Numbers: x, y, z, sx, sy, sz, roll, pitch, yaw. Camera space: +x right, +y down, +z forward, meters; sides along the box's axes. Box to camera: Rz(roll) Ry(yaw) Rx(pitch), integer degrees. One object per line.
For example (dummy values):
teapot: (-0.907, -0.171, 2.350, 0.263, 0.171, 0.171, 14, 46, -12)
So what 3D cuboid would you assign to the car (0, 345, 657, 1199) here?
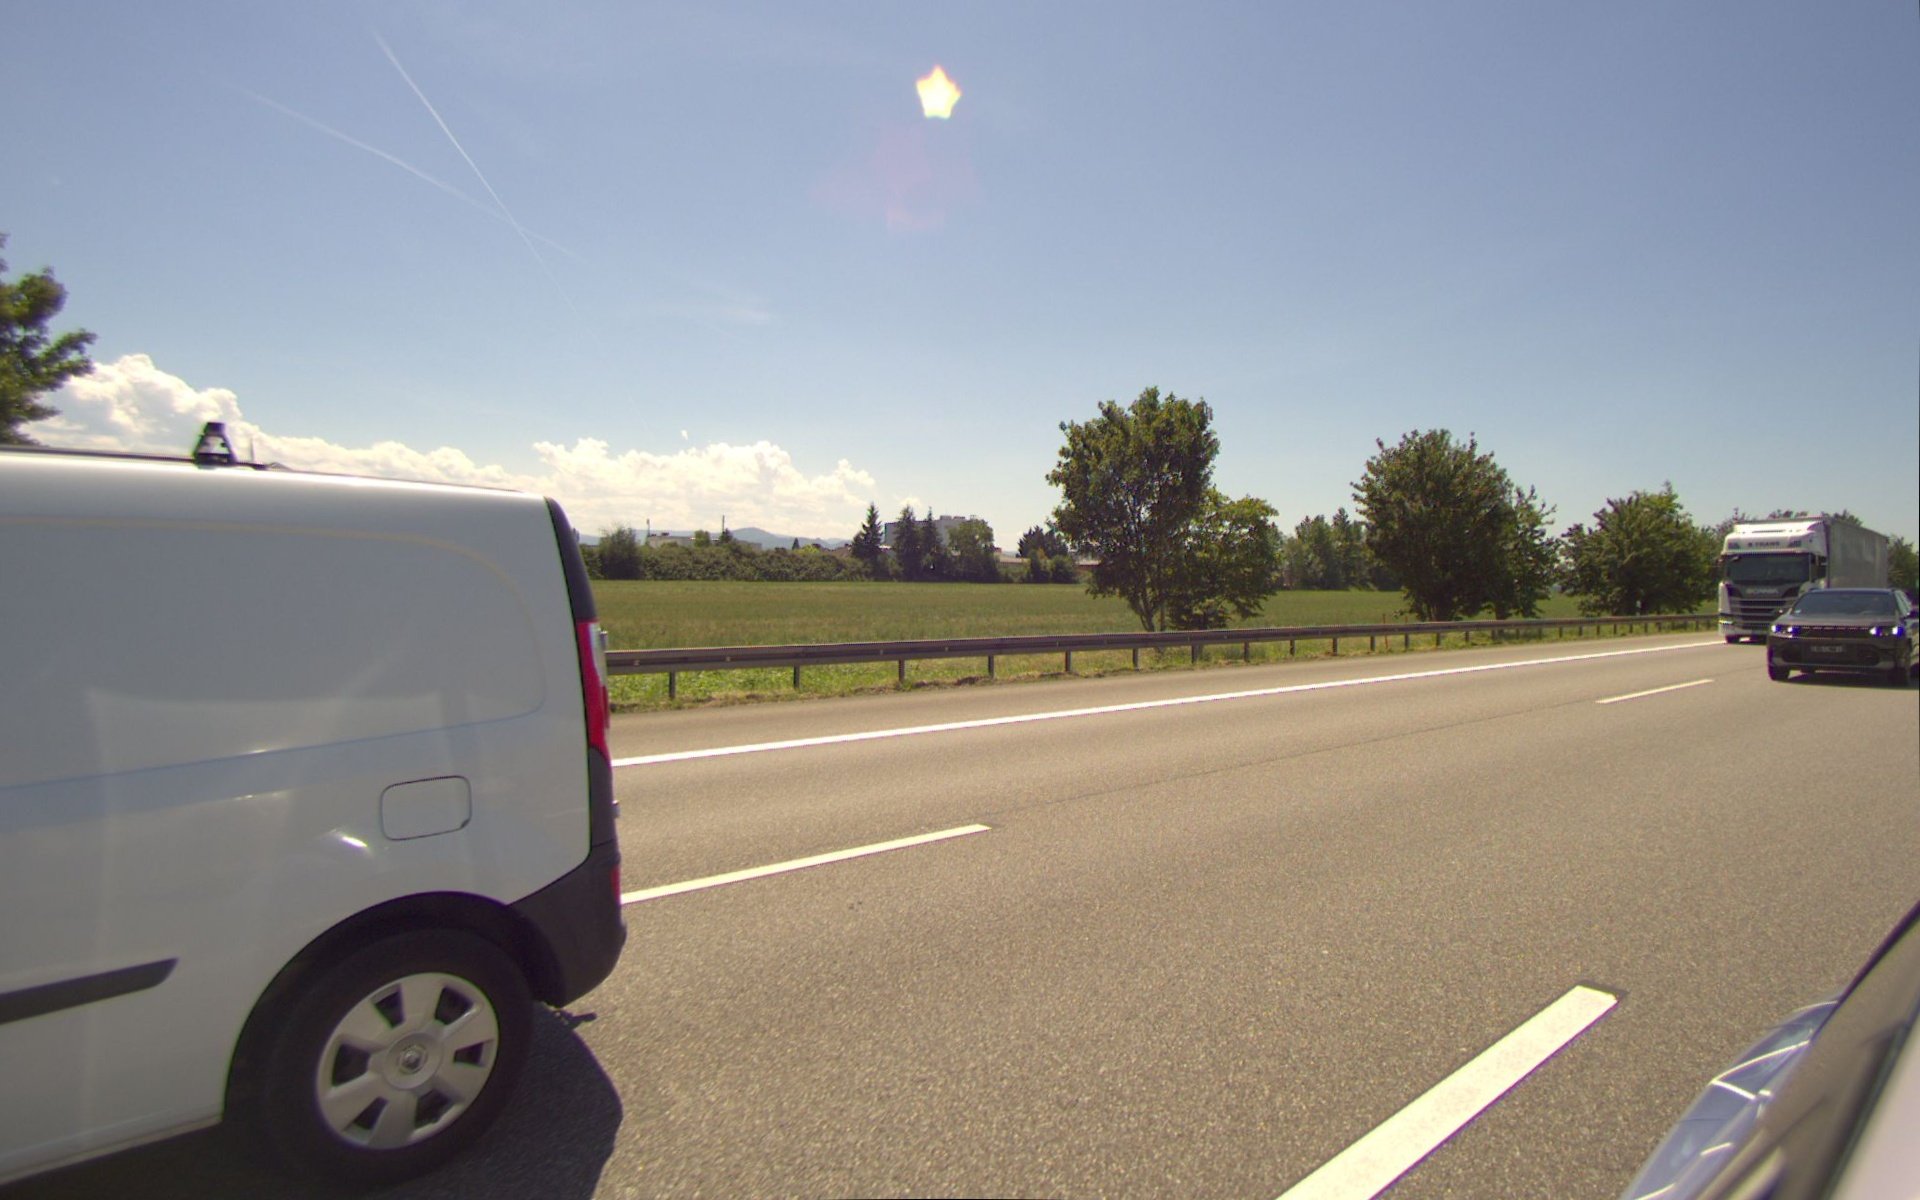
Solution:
car: (-3.194, 0.449, 2.046, 4.621, 1.886, 1.856, 0, 0, -42)

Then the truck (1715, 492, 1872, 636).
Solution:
truck: (28.089, -1.109, 33.994, 7.065, 4.359, 2.815, 0, 0, -40)

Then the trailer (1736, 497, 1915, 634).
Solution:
trailer: (32.663, -1.145, 37.838, 14.001, 4.359, 2.815, 0, 0, -40)

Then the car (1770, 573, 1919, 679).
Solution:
car: (16.543, 0.407, 18.459, 4.661, 1.696, 1.871, 0, 0, -40)
